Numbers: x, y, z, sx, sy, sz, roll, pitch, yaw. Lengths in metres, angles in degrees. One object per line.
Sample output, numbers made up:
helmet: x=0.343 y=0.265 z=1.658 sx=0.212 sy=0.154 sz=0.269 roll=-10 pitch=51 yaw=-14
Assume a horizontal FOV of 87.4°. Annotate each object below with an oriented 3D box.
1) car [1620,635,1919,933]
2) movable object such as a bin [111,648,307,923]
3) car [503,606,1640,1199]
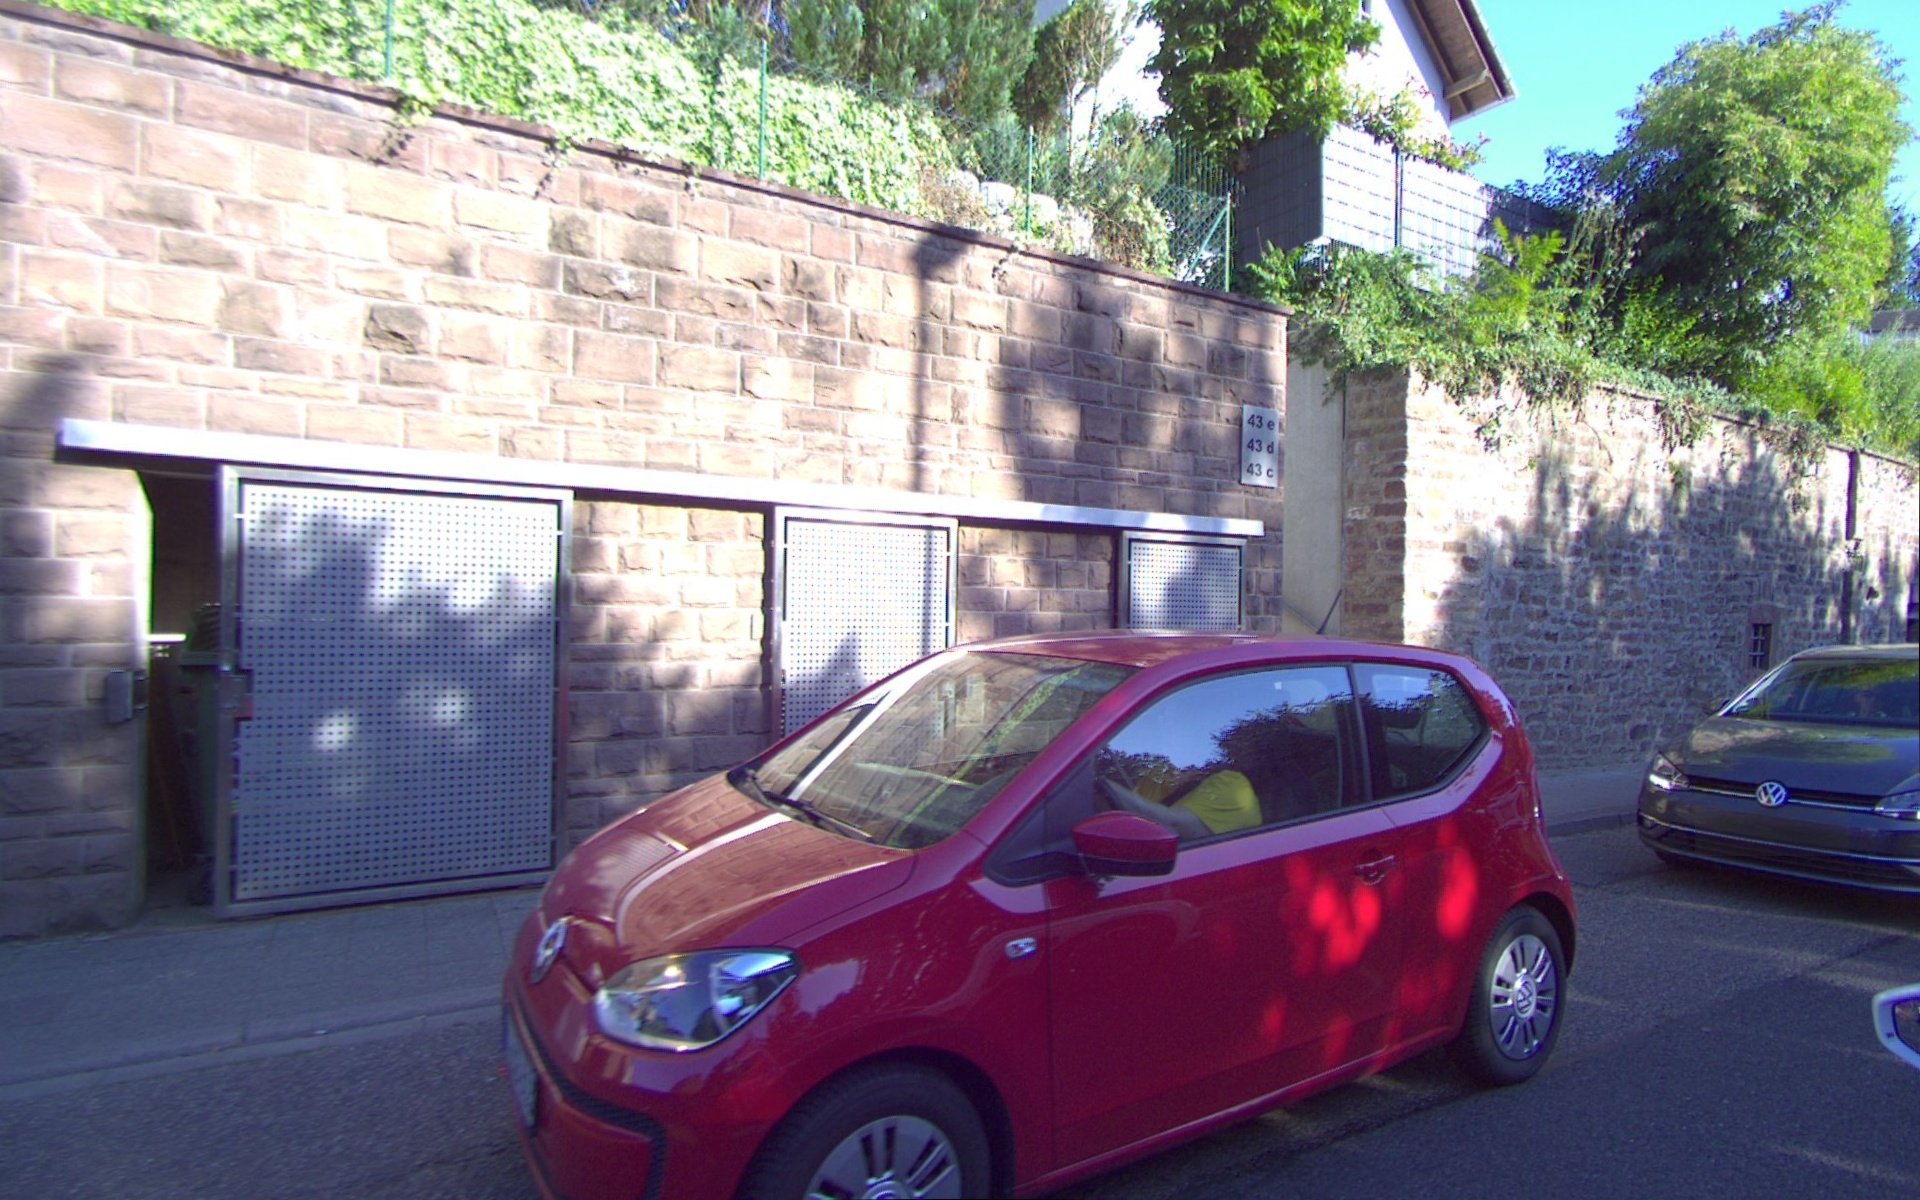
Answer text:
car: x=6.067 y=0.960 z=6.376 sx=3.885 sy=1.429 sz=1.641 roll=2 pitch=-2 yaw=-31
movable object such as a bin: x=-3.610 y=0.839 z=4.890 sx=0.657 sy=1.191 sz=0.655 roll=1 pitch=-1 yaw=-29
car: x=0.518 y=0.788 z=3.333 sx=3.523 sy=1.440 sz=1.618 roll=2 pitch=-2 yaw=-32
